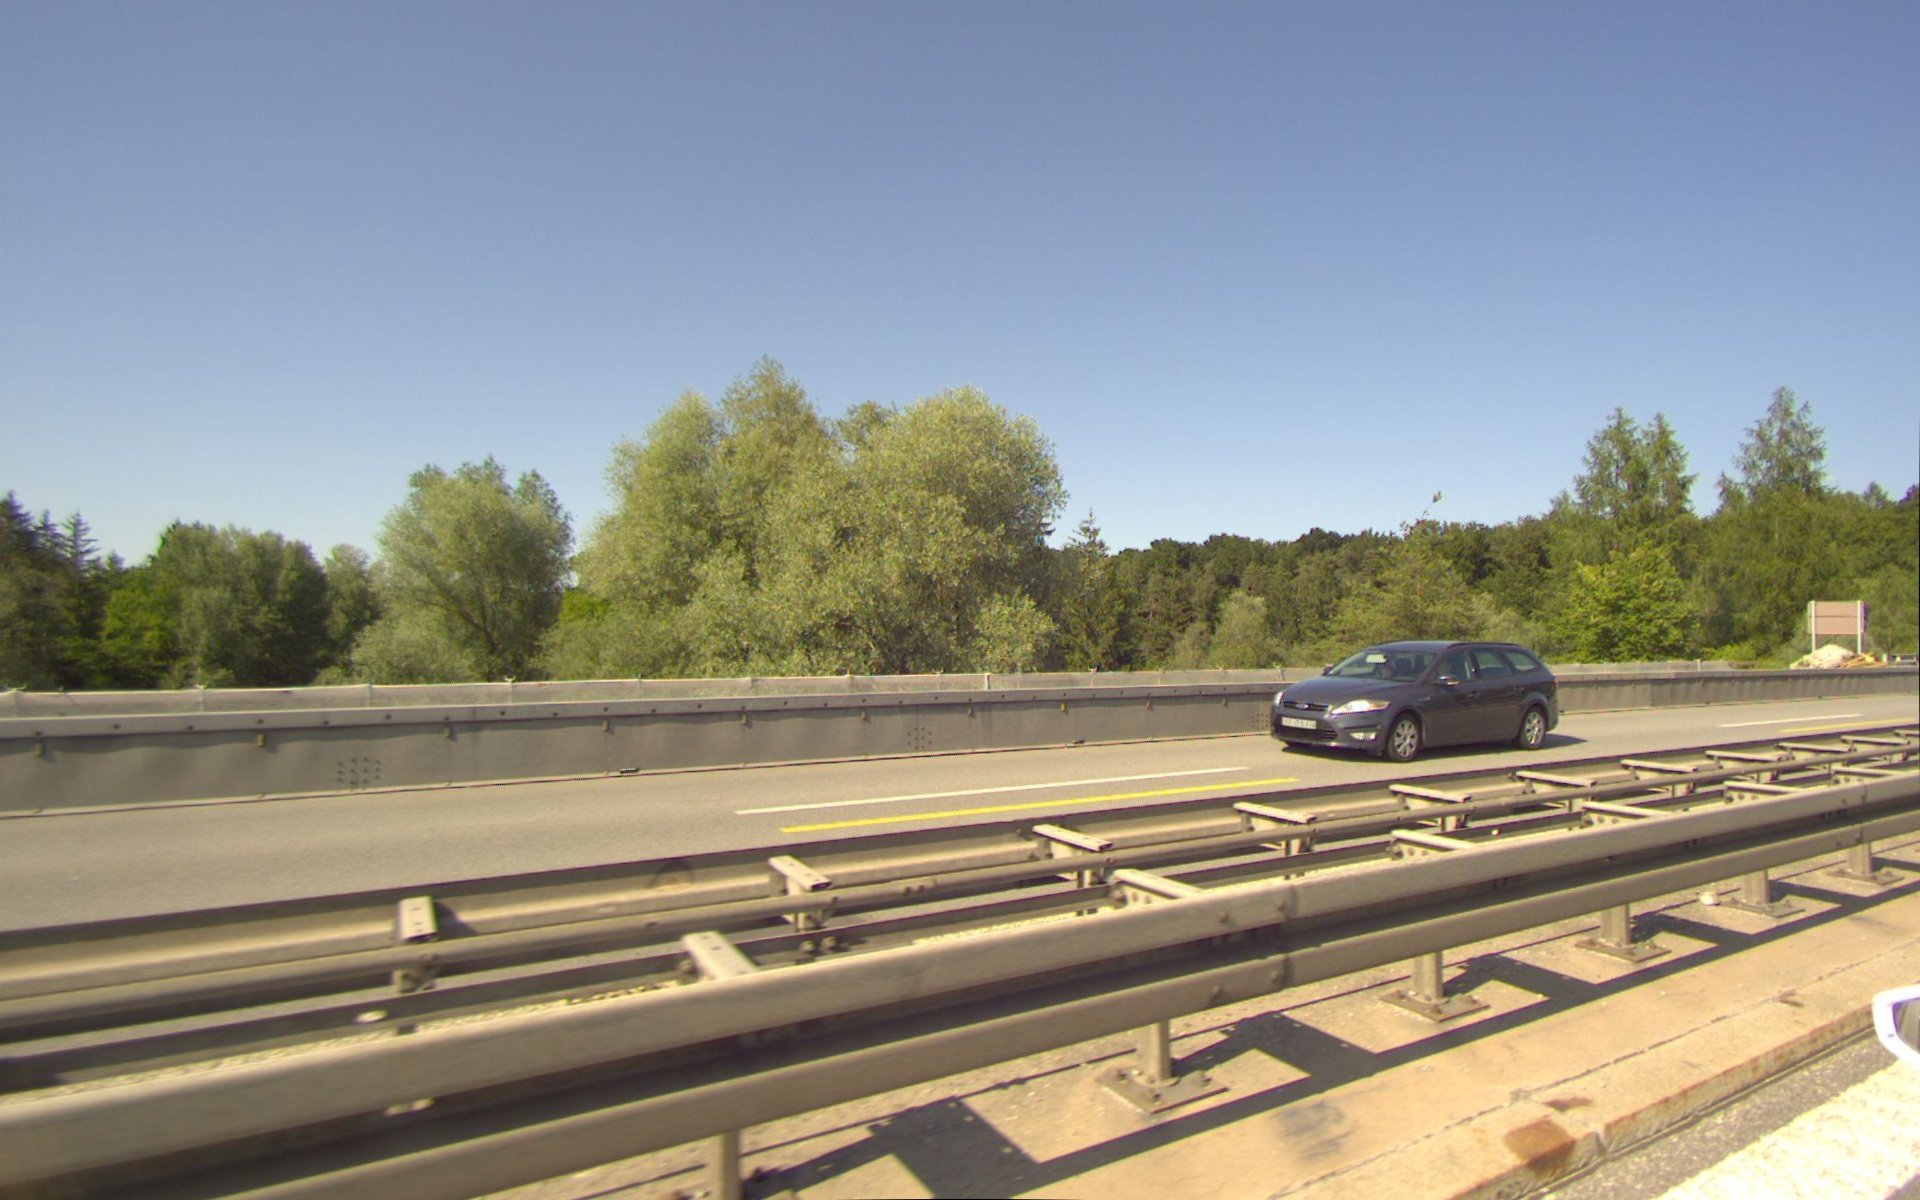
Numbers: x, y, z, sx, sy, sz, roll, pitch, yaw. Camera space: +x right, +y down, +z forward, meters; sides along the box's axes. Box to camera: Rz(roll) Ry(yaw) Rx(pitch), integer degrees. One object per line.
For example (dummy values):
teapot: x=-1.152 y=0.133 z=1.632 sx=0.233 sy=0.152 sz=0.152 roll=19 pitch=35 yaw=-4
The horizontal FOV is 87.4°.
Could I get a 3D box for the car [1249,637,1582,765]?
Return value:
car: x=6.348 y=1.268 z=13.814 sx=4.853 sy=1.485 sz=1.735 roll=1 pitch=-2 yaw=-31
